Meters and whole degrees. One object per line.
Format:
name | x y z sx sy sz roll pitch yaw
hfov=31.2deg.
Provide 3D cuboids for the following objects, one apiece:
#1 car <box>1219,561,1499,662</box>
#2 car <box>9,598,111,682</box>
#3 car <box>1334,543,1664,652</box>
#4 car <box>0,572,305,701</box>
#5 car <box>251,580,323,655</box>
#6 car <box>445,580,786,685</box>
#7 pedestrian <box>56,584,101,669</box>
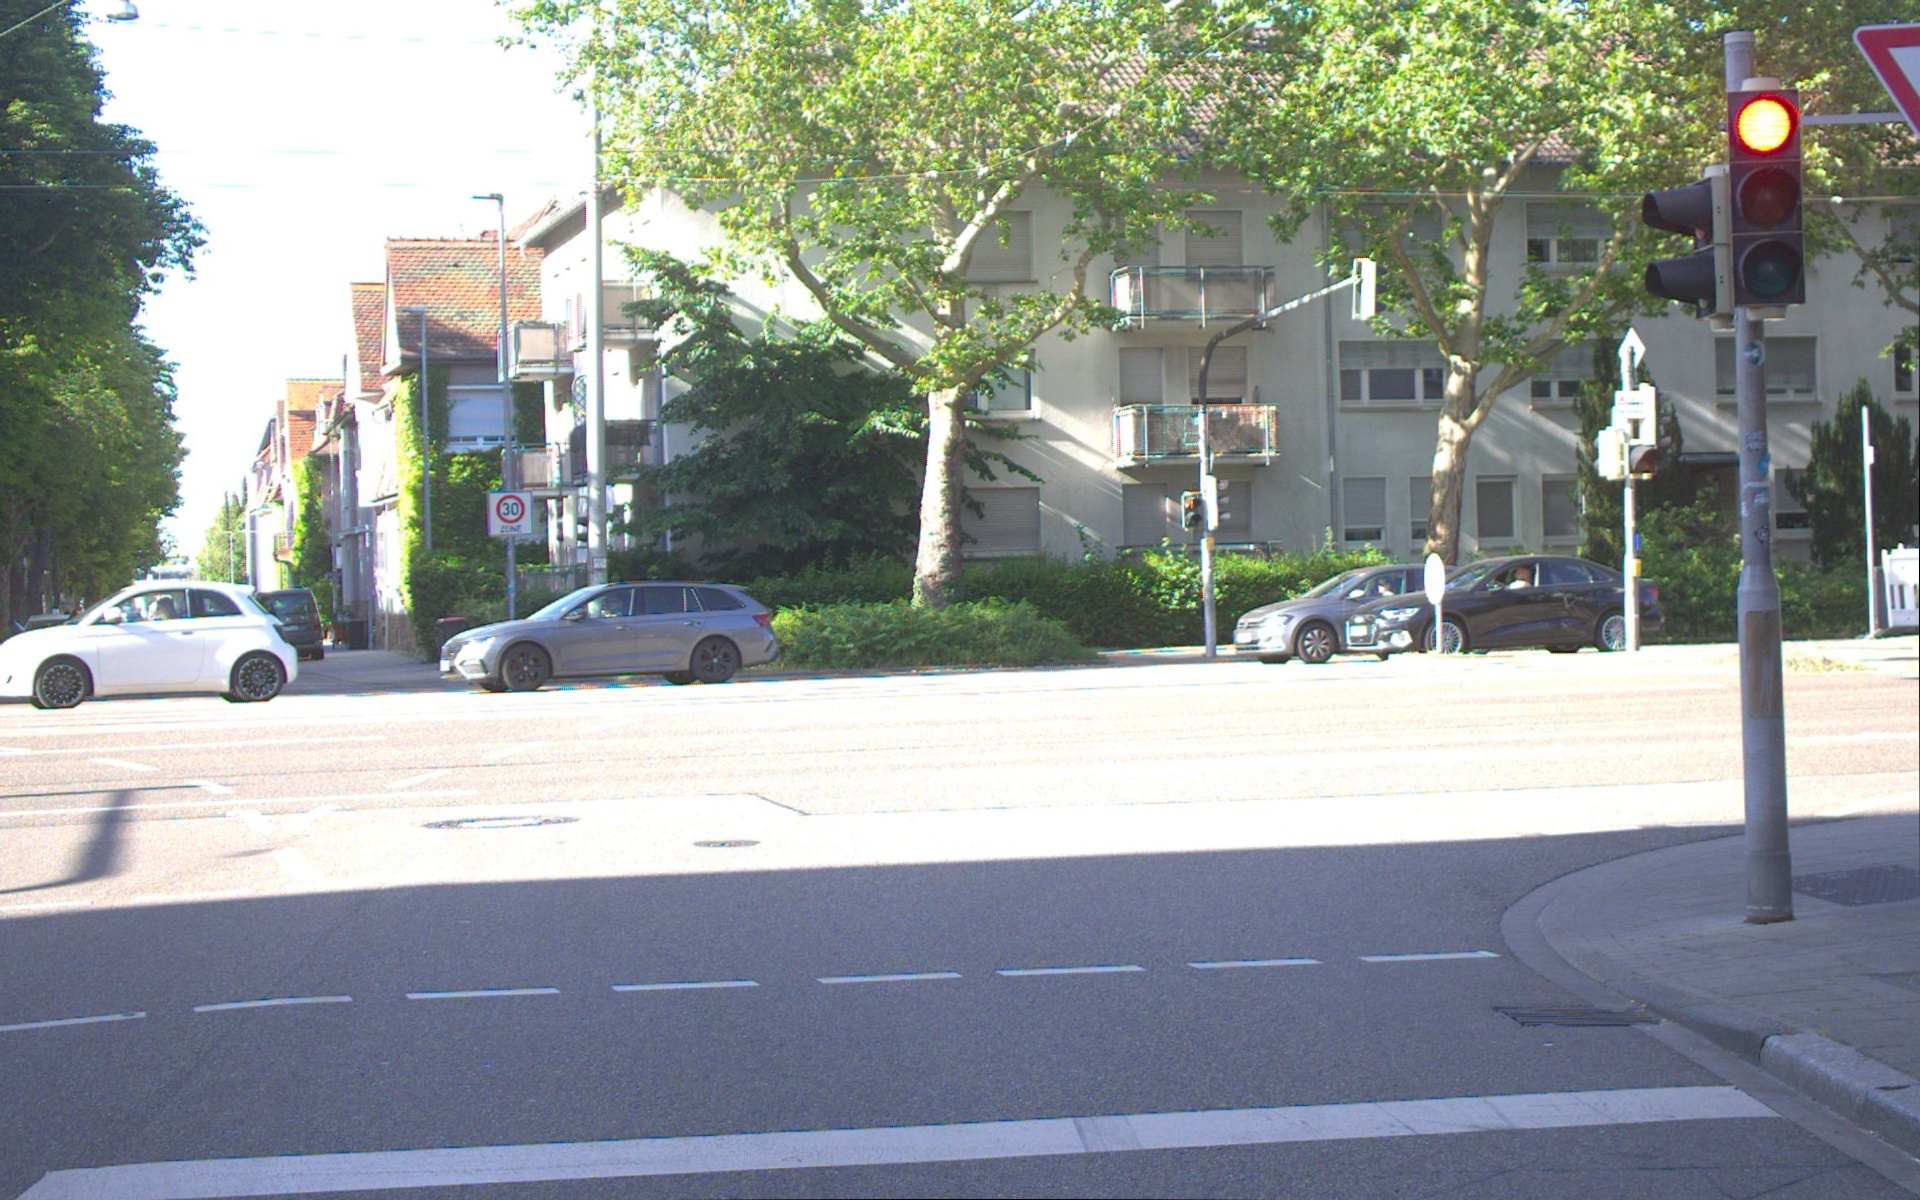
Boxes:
car | 5.916 0.153 51.046 3.780 1.395 1.646 -1 1 -21
car | -17.597 0.762 67.294 1.698 1.478 3.535 -3 1 -12
car | 7.491 -0.057 47.816 4.266 1.395 1.646 -1 1 -21
car | -9.964 0.425 42.038 3.630 1.452 1.503 -1 1 -20
car | -18.578 0.461 94.836 1.772 1.912 3.535 -3 1 -12
car | -4.761 0.424 47.509 4.385 1.312 1.646 -1 1 -20
pedestrian | -14.982 0.447 58.446 0.703 1.437 0.490 1 0 -17
